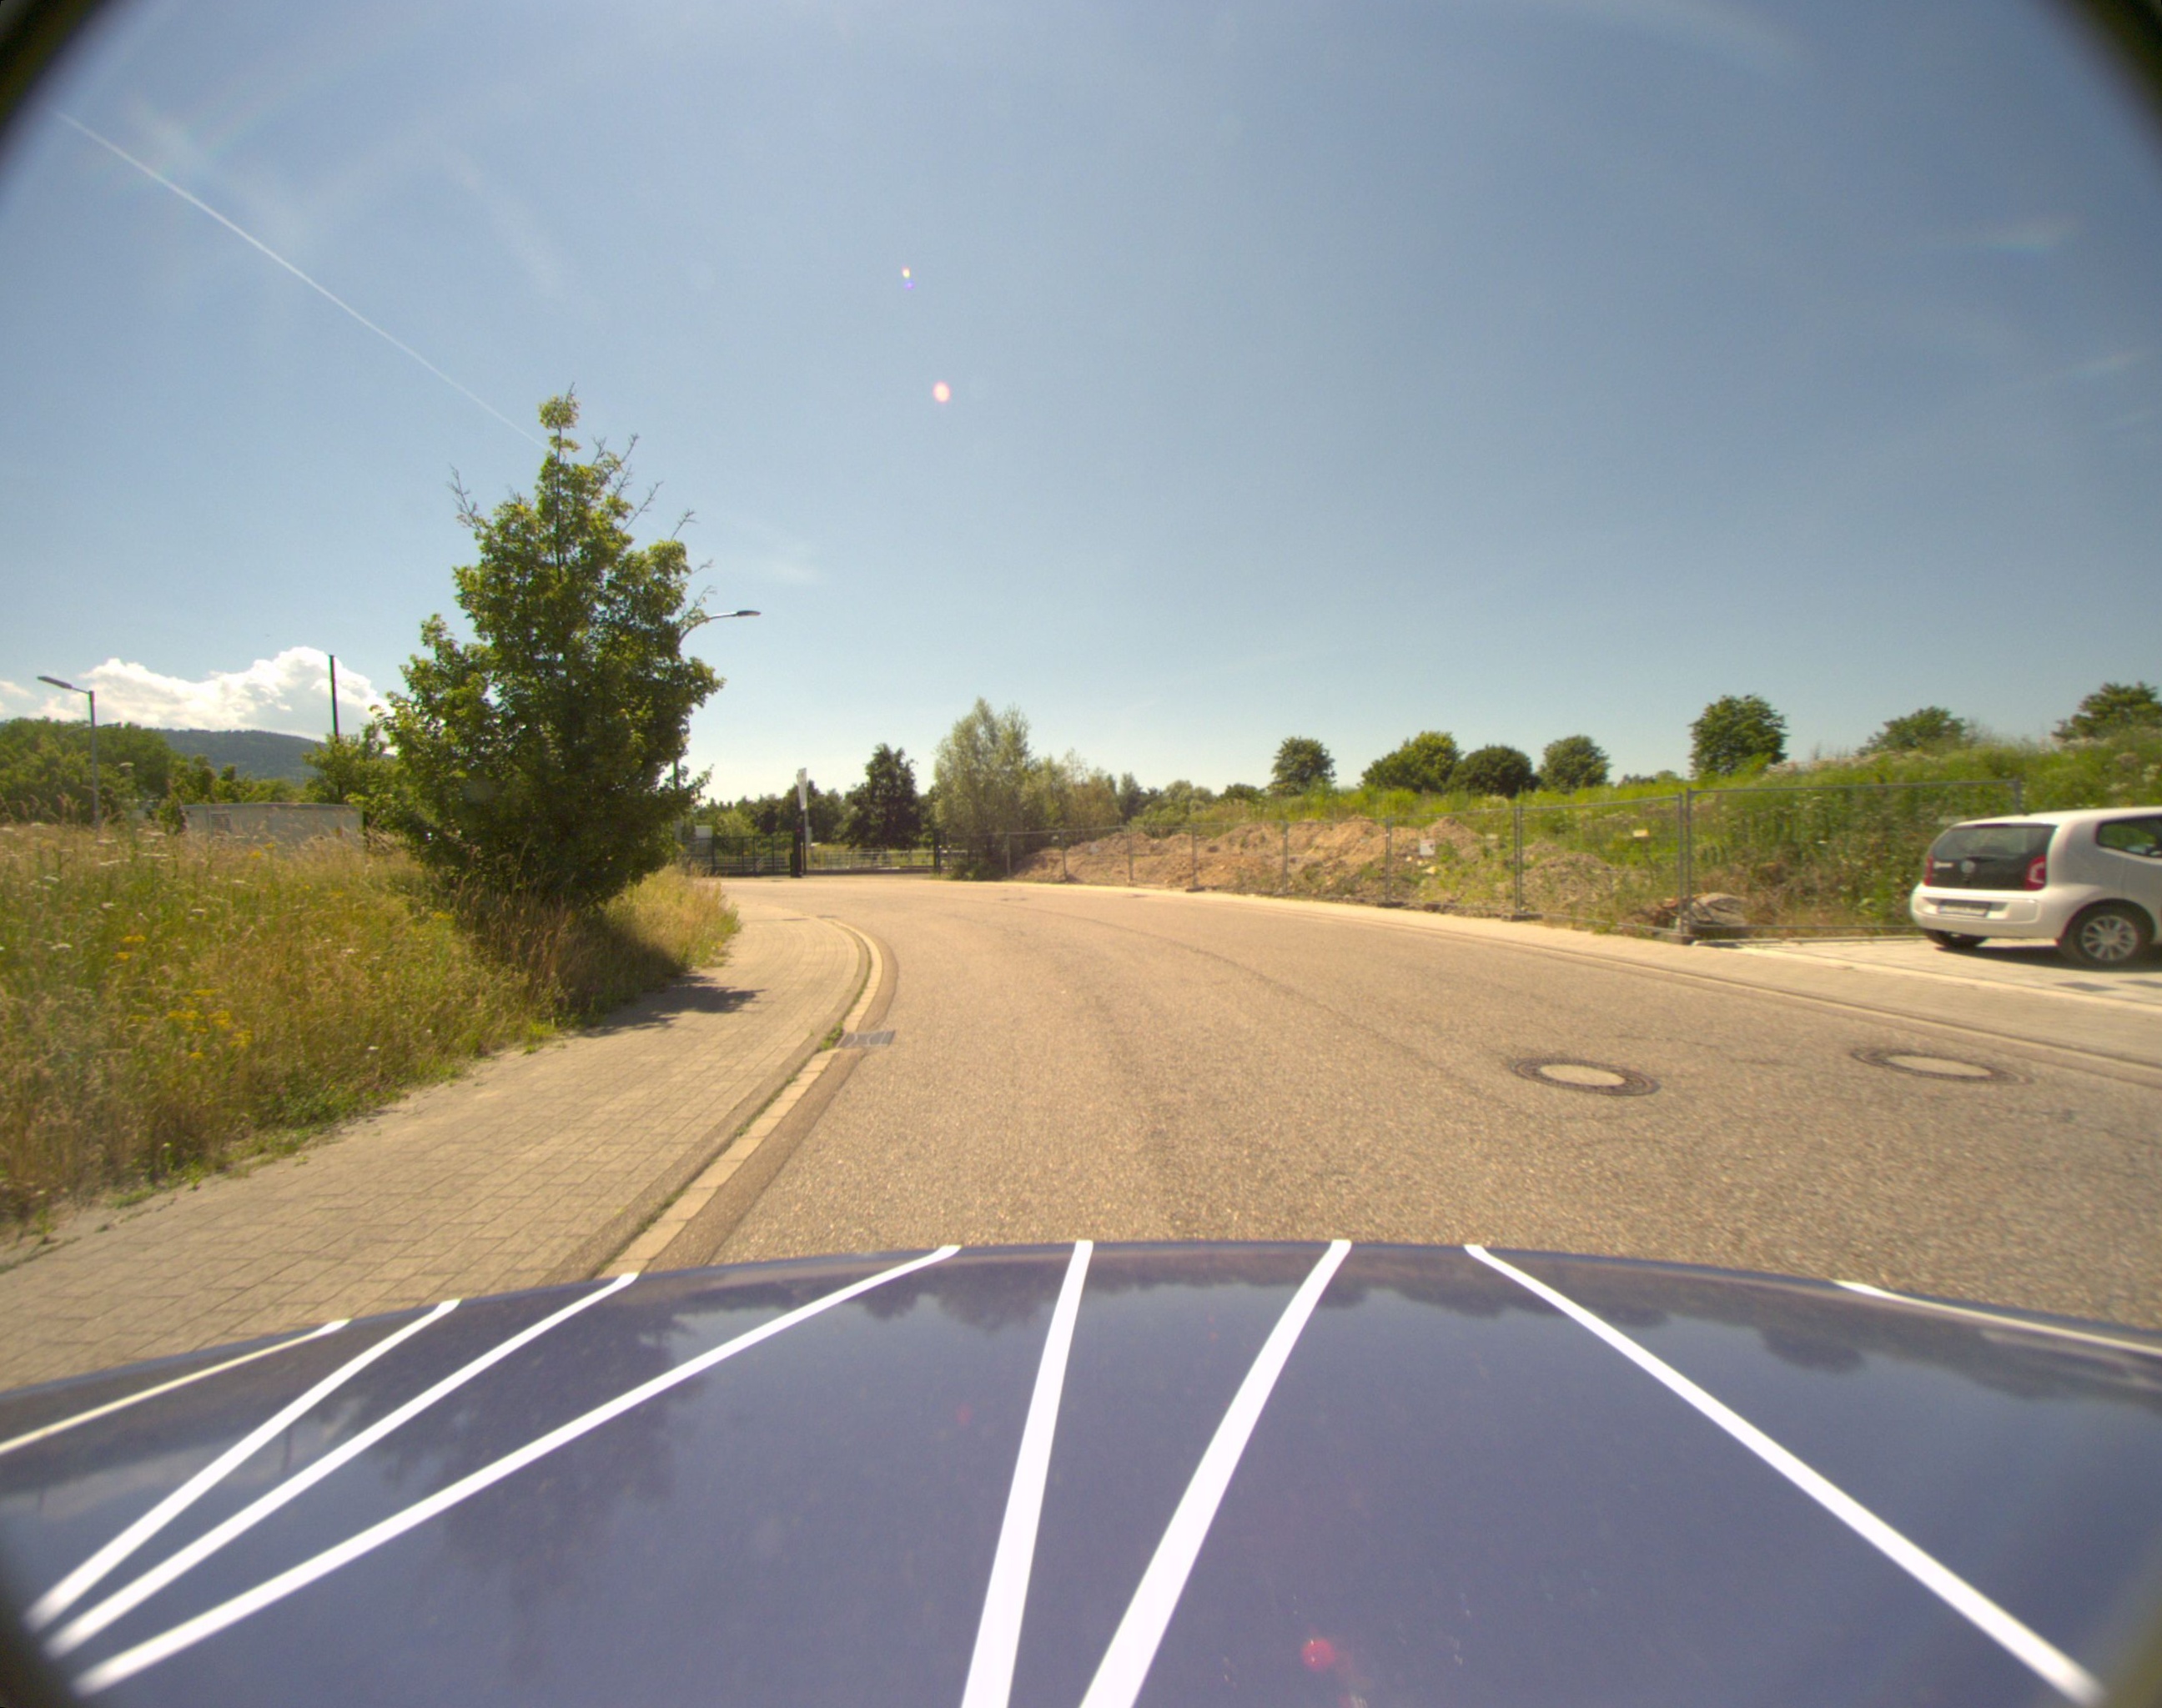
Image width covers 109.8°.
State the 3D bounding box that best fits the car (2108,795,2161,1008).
[{"bbox_3d":[10.285,0.190,4.890,4.169,1.649,1.783,-6,1,12],"label":"car"}]

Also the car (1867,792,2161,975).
[{"bbox_3d":[10.632,0.189,7.601,3.367,1.453,1.782,-6,1,10],"label":"car"}]
